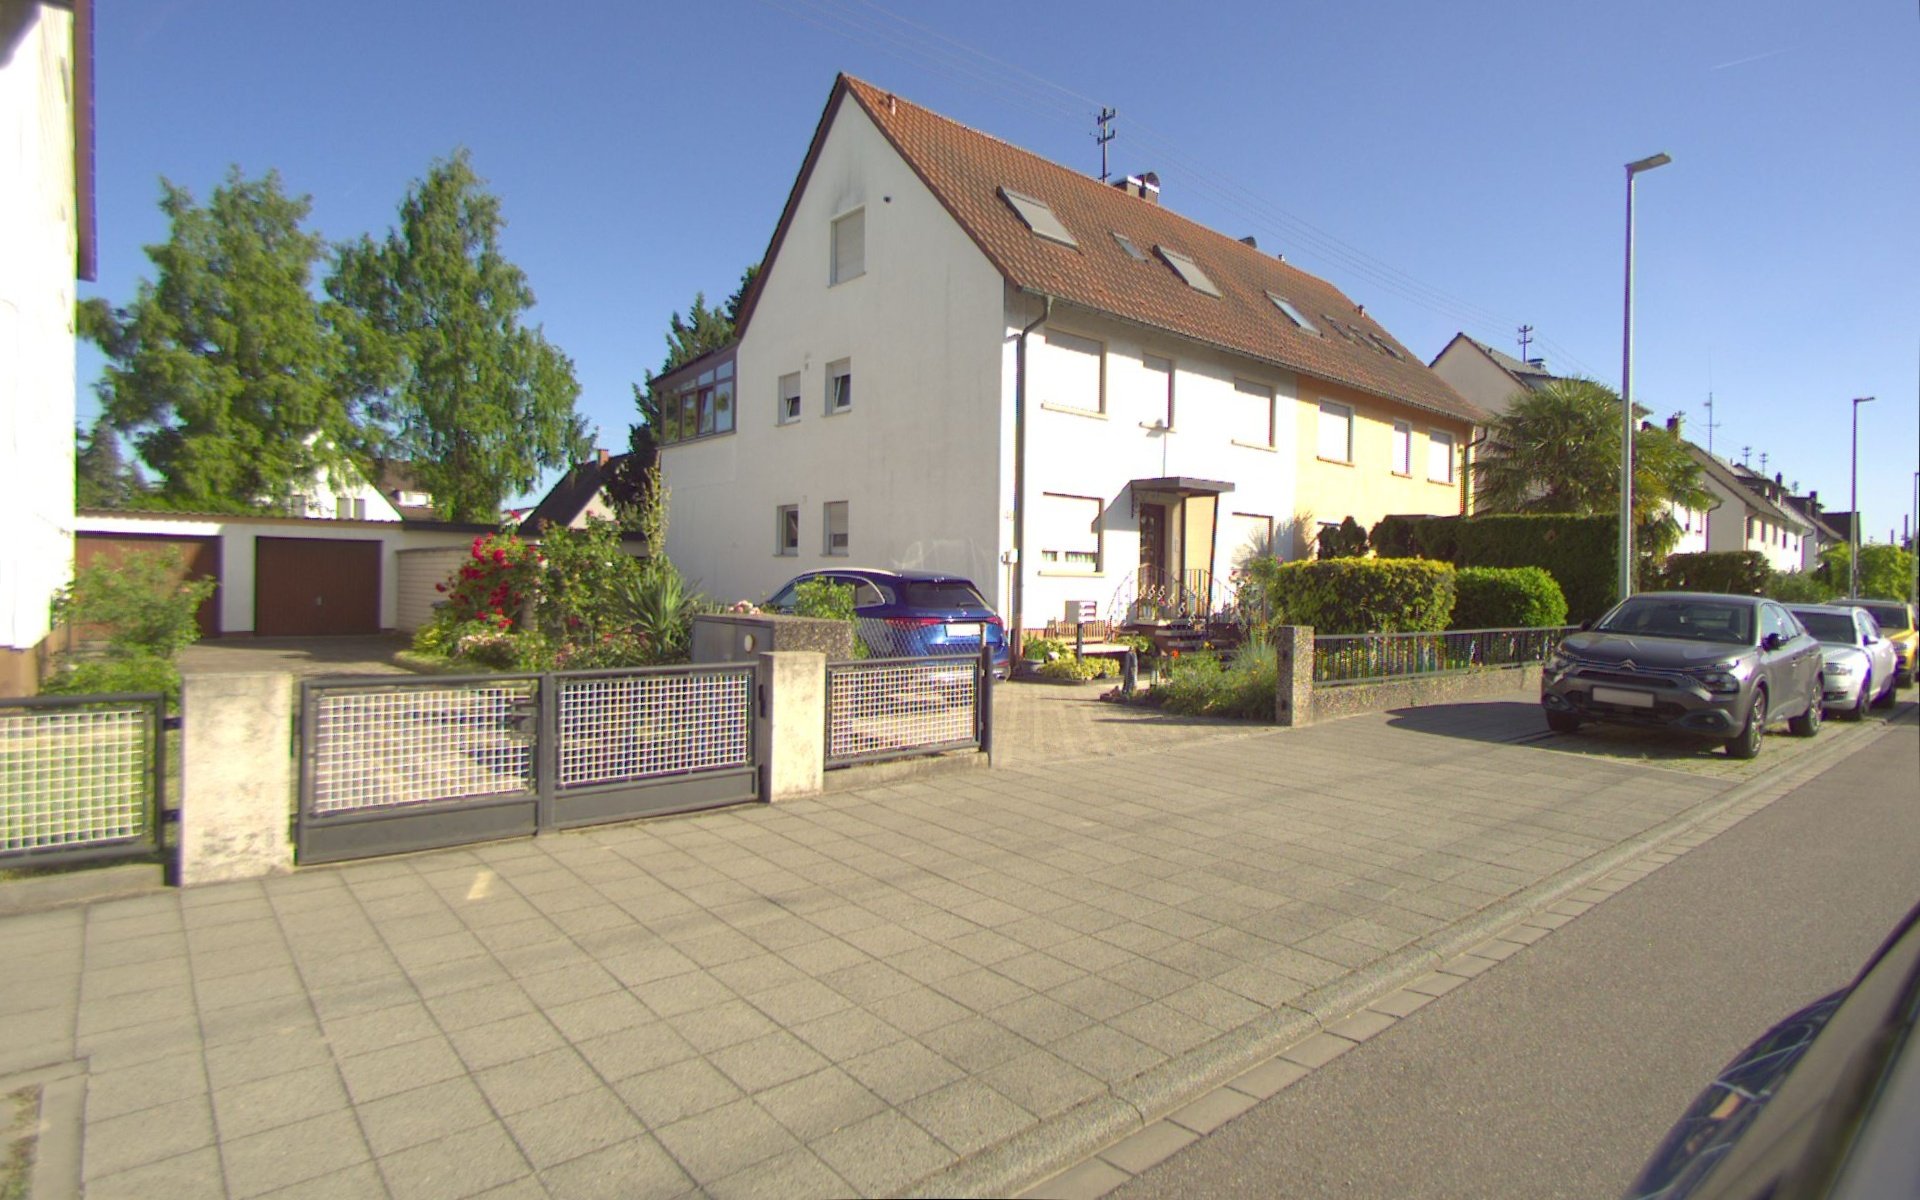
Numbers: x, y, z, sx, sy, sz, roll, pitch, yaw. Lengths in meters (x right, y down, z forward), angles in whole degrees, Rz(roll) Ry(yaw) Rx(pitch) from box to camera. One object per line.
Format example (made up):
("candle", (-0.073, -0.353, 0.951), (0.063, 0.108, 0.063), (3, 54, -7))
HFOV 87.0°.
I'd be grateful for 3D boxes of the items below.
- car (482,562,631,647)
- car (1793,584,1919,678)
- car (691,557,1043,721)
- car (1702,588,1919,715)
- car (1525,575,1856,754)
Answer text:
("car", (-8.644, 0.026, 21.516), (1.782, 1.639, 3.820), (0, 1, -41))
("car", (17.921, 0.513, 19.738), (4.841, 1.578, 1.808), (-1, 2, -42))
("car", (-1.312, 0.353, 12.680), (2.160, 1.676, 4.419), (-1, 1, -43))
("car", (12.132, 0.643, 14.258), (4.617, 1.465, 1.751), (1, 1, -42))
("car", (7.947, 0.533, 10.823), (4.644, 1.517, 1.781), (0, 1, -40))
